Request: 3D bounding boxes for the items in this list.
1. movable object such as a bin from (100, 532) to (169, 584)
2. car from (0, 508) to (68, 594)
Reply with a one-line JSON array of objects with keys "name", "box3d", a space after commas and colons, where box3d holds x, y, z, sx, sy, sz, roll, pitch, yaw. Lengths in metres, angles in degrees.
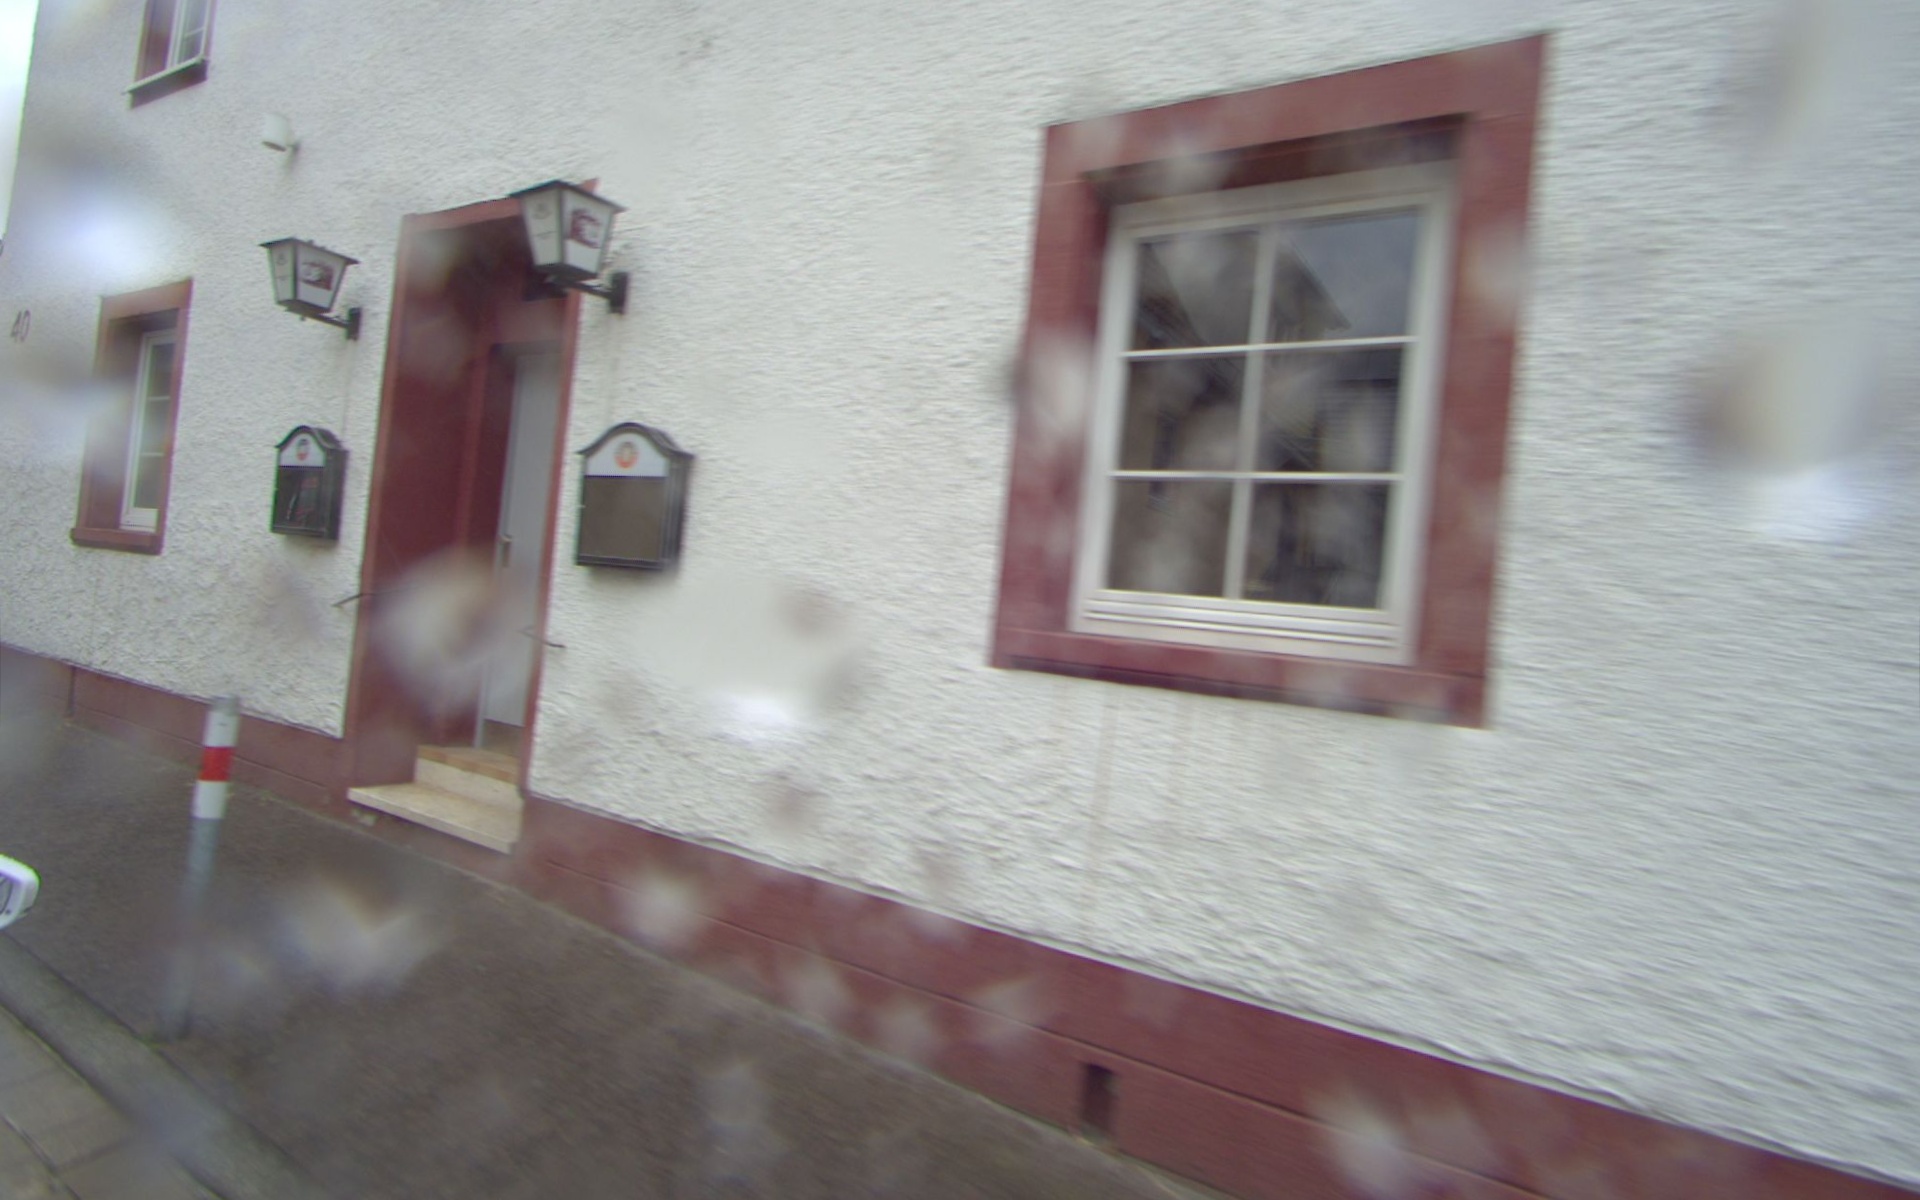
[{"name": "movable object such as a bin", "box3d": [-25.878, -1.307, 31.534, 1.136, 1.372, 1.245, 7, -3, 33]}, {"name": "car", "box3d": [-19.537, -1.173, 18.736, 4.218, 1.497, 1.674, 10, -3, -44]}]
